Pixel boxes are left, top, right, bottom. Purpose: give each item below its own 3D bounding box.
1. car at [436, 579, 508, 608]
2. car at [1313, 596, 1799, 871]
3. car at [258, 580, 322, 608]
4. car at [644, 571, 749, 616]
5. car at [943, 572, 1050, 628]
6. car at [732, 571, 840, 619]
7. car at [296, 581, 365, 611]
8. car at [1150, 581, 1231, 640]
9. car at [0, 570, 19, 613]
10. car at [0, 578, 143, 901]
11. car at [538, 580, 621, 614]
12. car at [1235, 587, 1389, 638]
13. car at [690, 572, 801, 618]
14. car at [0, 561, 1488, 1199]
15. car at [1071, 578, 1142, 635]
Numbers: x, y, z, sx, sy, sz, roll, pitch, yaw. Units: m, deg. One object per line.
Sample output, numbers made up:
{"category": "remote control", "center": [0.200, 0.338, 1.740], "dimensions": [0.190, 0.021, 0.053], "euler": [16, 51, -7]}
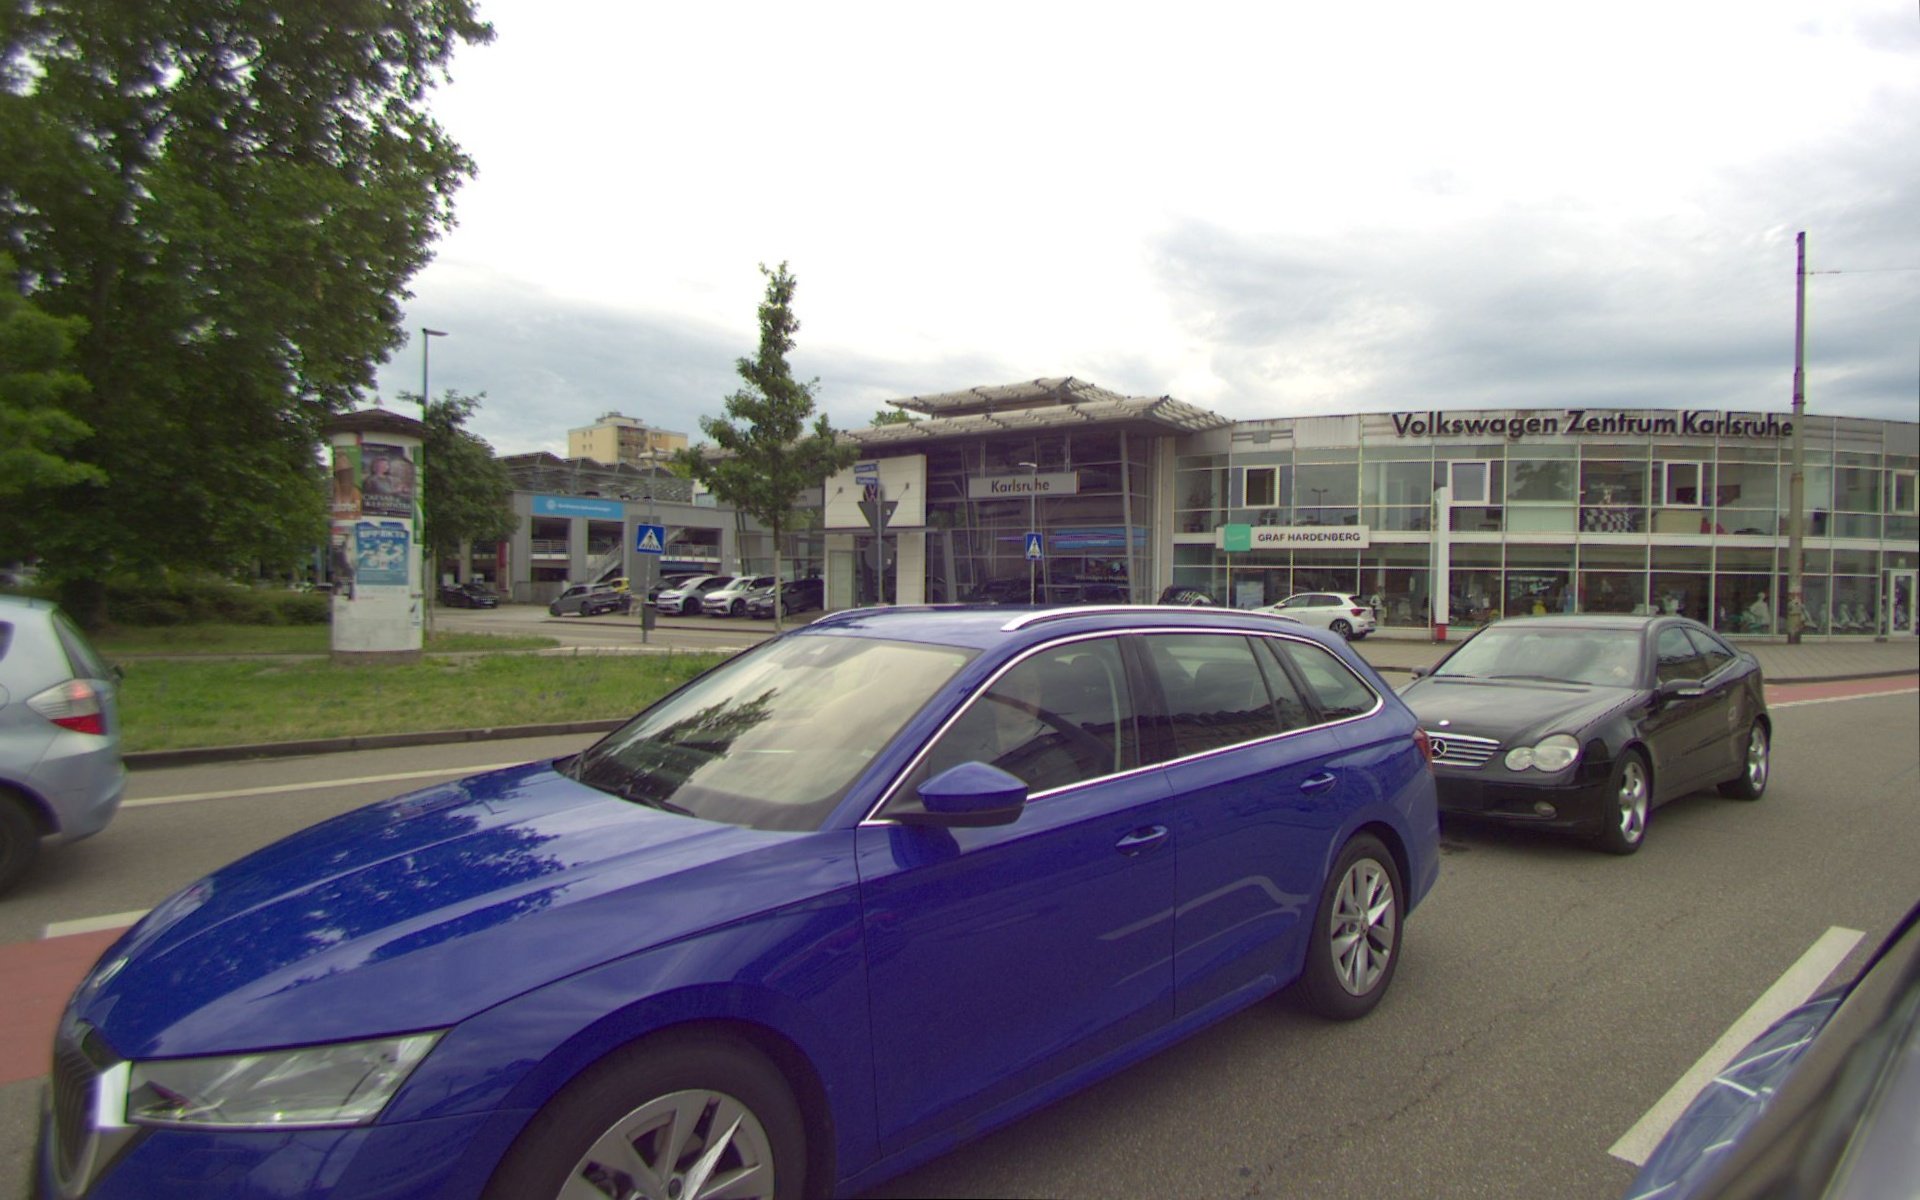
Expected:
{"category": "car", "center": [-28.978, -0.400, 60.058], "dimensions": [4.446, 1.567, 1.876], "euler": [2, 2, 35]}
{"category": "car", "center": [4.453, 0.706, 7.332], "dimensions": [3.996, 1.439, 1.714], "euler": [0, 1, -39]}
{"category": "car", "center": [-41.711, -0.412, 62.986], "dimensions": [4.446, 1.643, 1.838], "euler": [2, 2, 35]}
{"category": "car", "center": [-11.973, -0.329, 46.198], "dimensions": [1.859, 1.719, 4.419], "euler": [0, 4, 37]}
{"category": "car", "center": [1.372, -0.051, 35.879], "dimensions": [1.846, 1.652, 4.464], "euler": [0, 4, 31]}
{"category": "car", "center": [-7.310, -0.248, 42.857], "dimensions": [1.886, 1.717, 4.421], "euler": [0, 4, 36]}
{"category": "car", "center": [-37.055, -0.285, 59.512], "dimensions": [4.446, 1.643, 1.838], "euler": [2, 2, 35]}
{"category": "car", "center": [7.362, 0.278, 32.750], "dimensions": [1.867, 1.581, 4.219], "euler": [1, 3, 4]}
{"category": "car", "center": [-36.494, -0.329, 36.343], "dimensions": [4.408, 1.567, 1.854], "euler": [1, 1, 13]}
{"category": "car", "center": [-6.123, 0.634, 4.340], "dimensions": [4.027, 1.485, 1.752], "euler": [0, 1, -41]}
{"category": "car", "center": [-18.631, -0.162, 49.505], "dimensions": [3.988, 1.583, 1.896], "euler": [0, 2, 35]}
{"category": "car", "center": [11.019, 0.358, 31.799], "dimensions": [4.243, 1.471, 1.757], "euler": [1, 1, 40]}
{"category": "car", "center": [-9.393, -0.274, 44.603], "dimensions": [1.850, 1.719, 4.716], "euler": [0, 4, 36]}
{"category": "car", "center": [-0.101, 0.661, 3.347], "dimensions": [4.387, 1.507, 1.783], "euler": [-1, 2, -41]}
{"category": "car", "center": [4.715, 0.156, 33.132], "dimensions": [1.824, 1.522, 4.340], "euler": [0, 4, 2]}
